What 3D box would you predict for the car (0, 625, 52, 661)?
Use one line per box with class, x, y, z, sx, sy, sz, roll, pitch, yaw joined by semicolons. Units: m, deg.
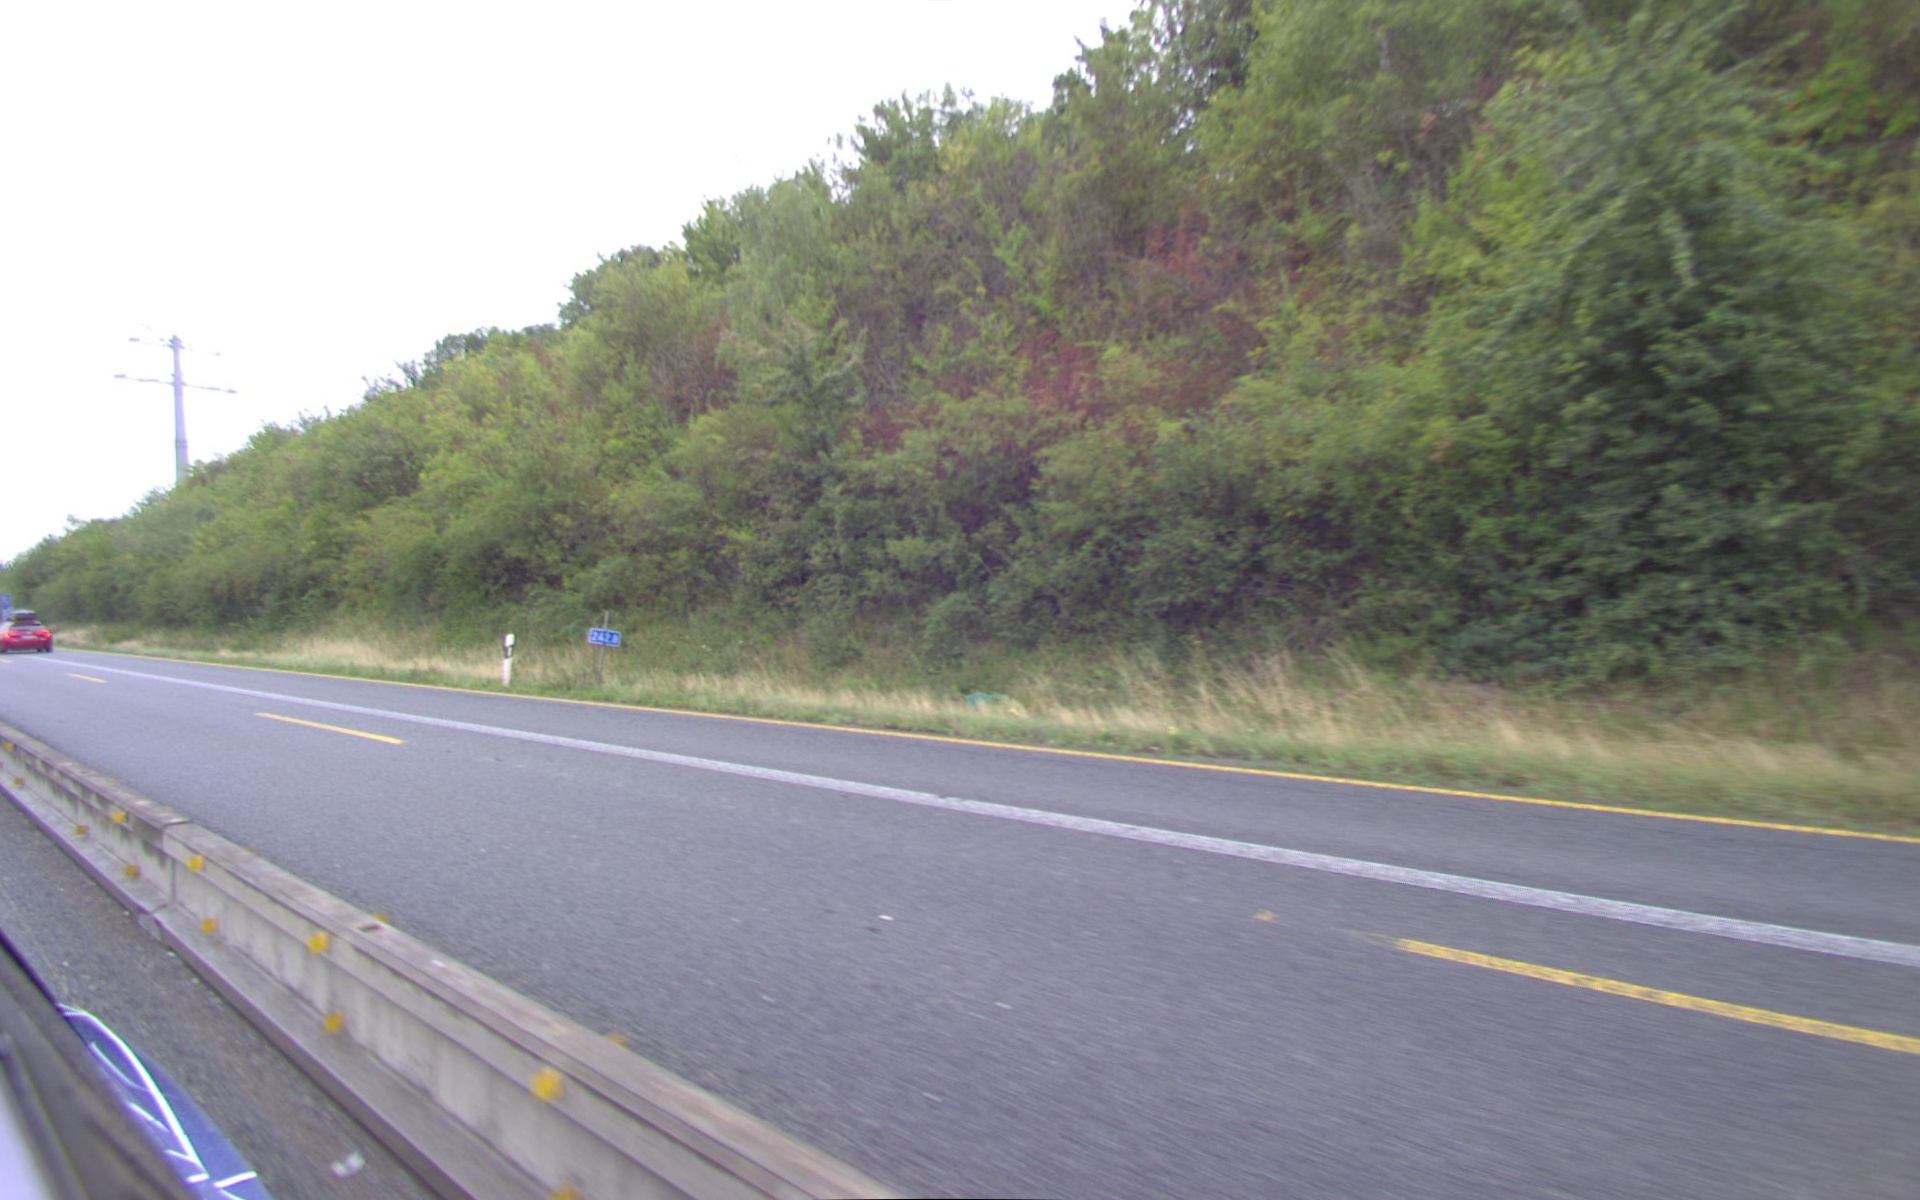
car;-42.174;1.877;45.232;4.445;1.462;1.756;-1;0;40
